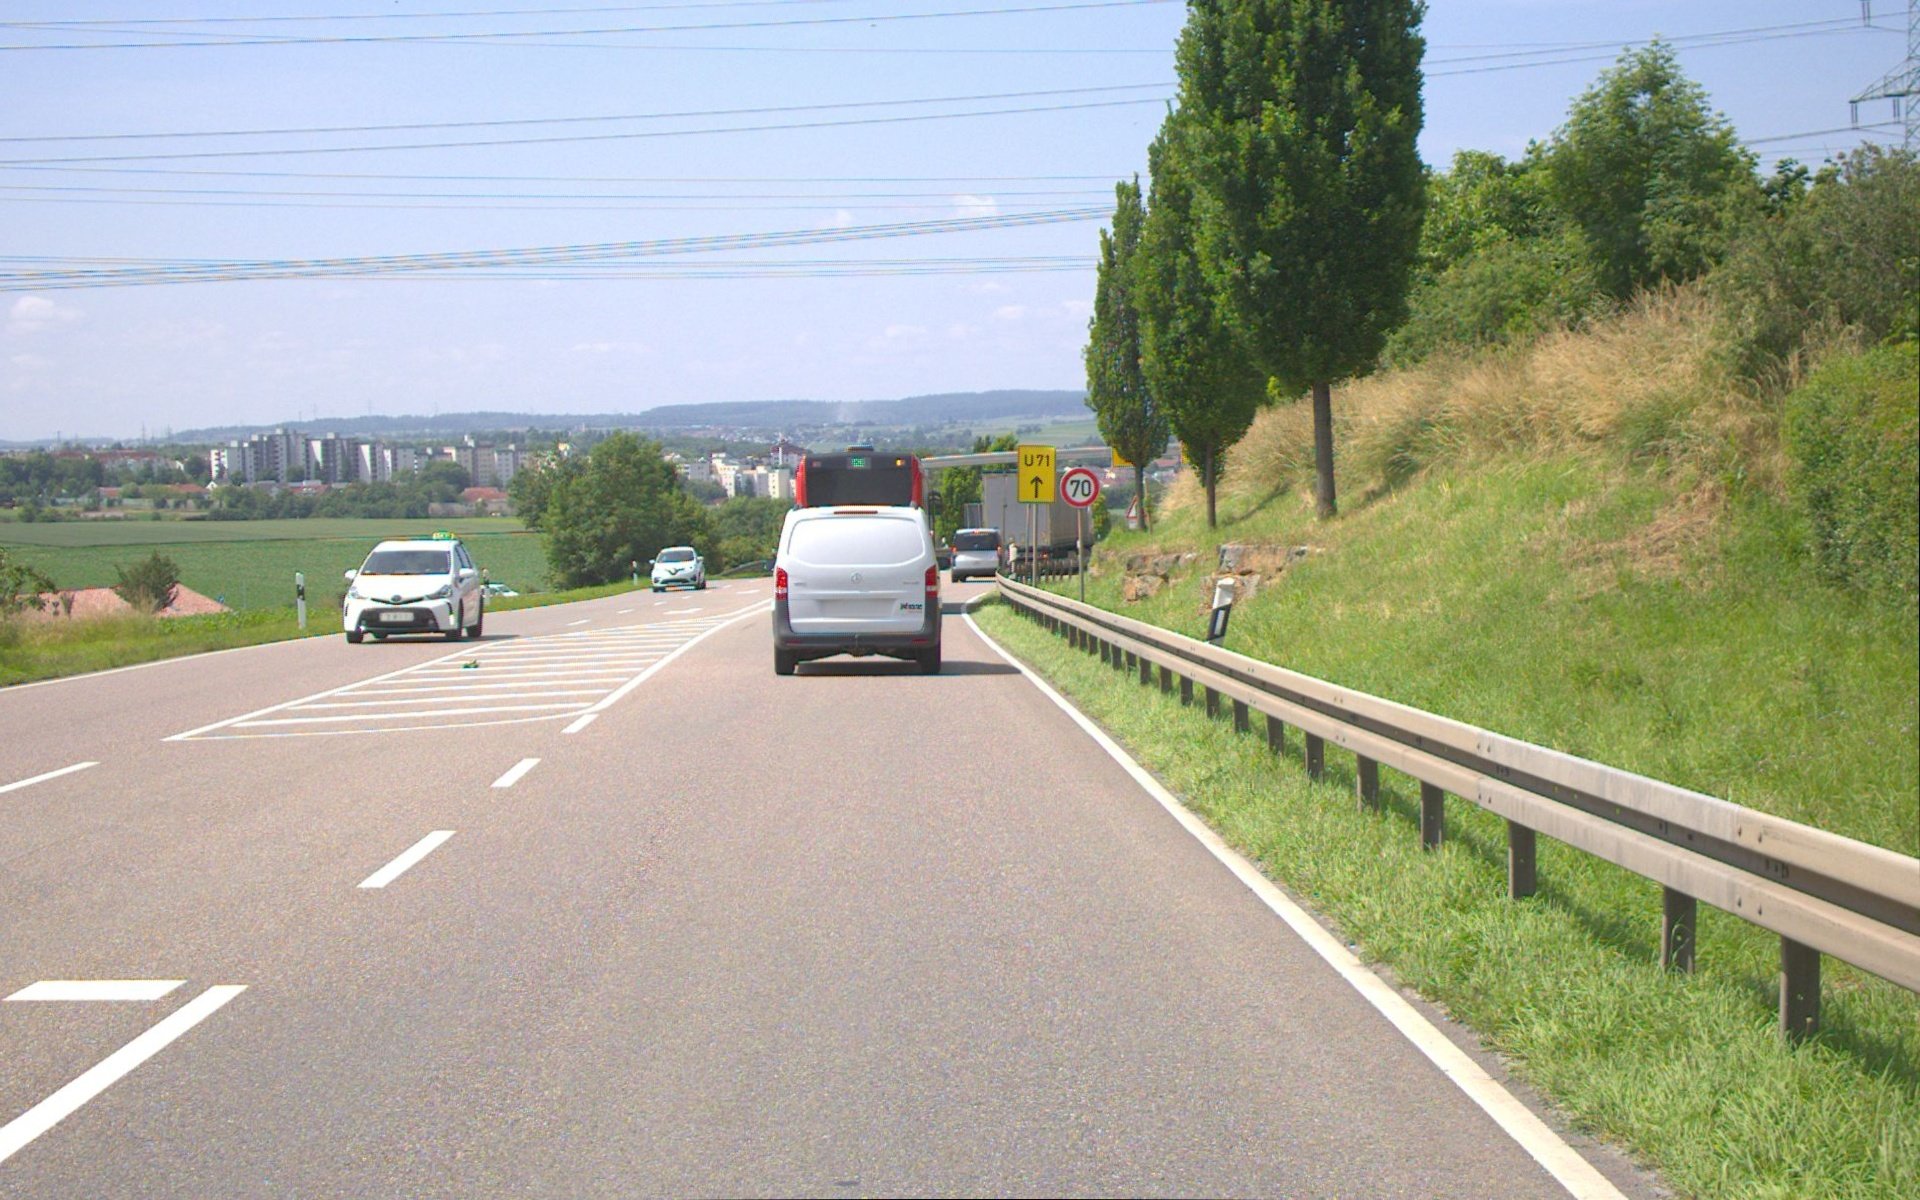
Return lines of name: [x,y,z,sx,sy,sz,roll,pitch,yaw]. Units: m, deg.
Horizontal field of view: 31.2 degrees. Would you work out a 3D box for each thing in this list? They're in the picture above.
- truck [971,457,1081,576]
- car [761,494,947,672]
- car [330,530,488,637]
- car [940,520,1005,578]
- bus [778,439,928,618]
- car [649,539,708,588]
truck: [2.704,-3.232,134.993,3.489,4.408,14.901,0,1,4]
car: [-1.164,-0.242,39.563,1.923,1.883,4.000,-2,2,1]
car: [-8.715,-0.299,54.692,1.854,1.560,4.075,-2,1,-1]
car: [0.422,-1.729,114.997,1.885,1.810,3.764,-2,1,4]
bus: [-2.335,-1.701,73.692,2.747,3.341,13.224,-3,3,-2]
car: [-10.226,-1.343,125.095,1.766,1.681,3.826,-2,1,0]
